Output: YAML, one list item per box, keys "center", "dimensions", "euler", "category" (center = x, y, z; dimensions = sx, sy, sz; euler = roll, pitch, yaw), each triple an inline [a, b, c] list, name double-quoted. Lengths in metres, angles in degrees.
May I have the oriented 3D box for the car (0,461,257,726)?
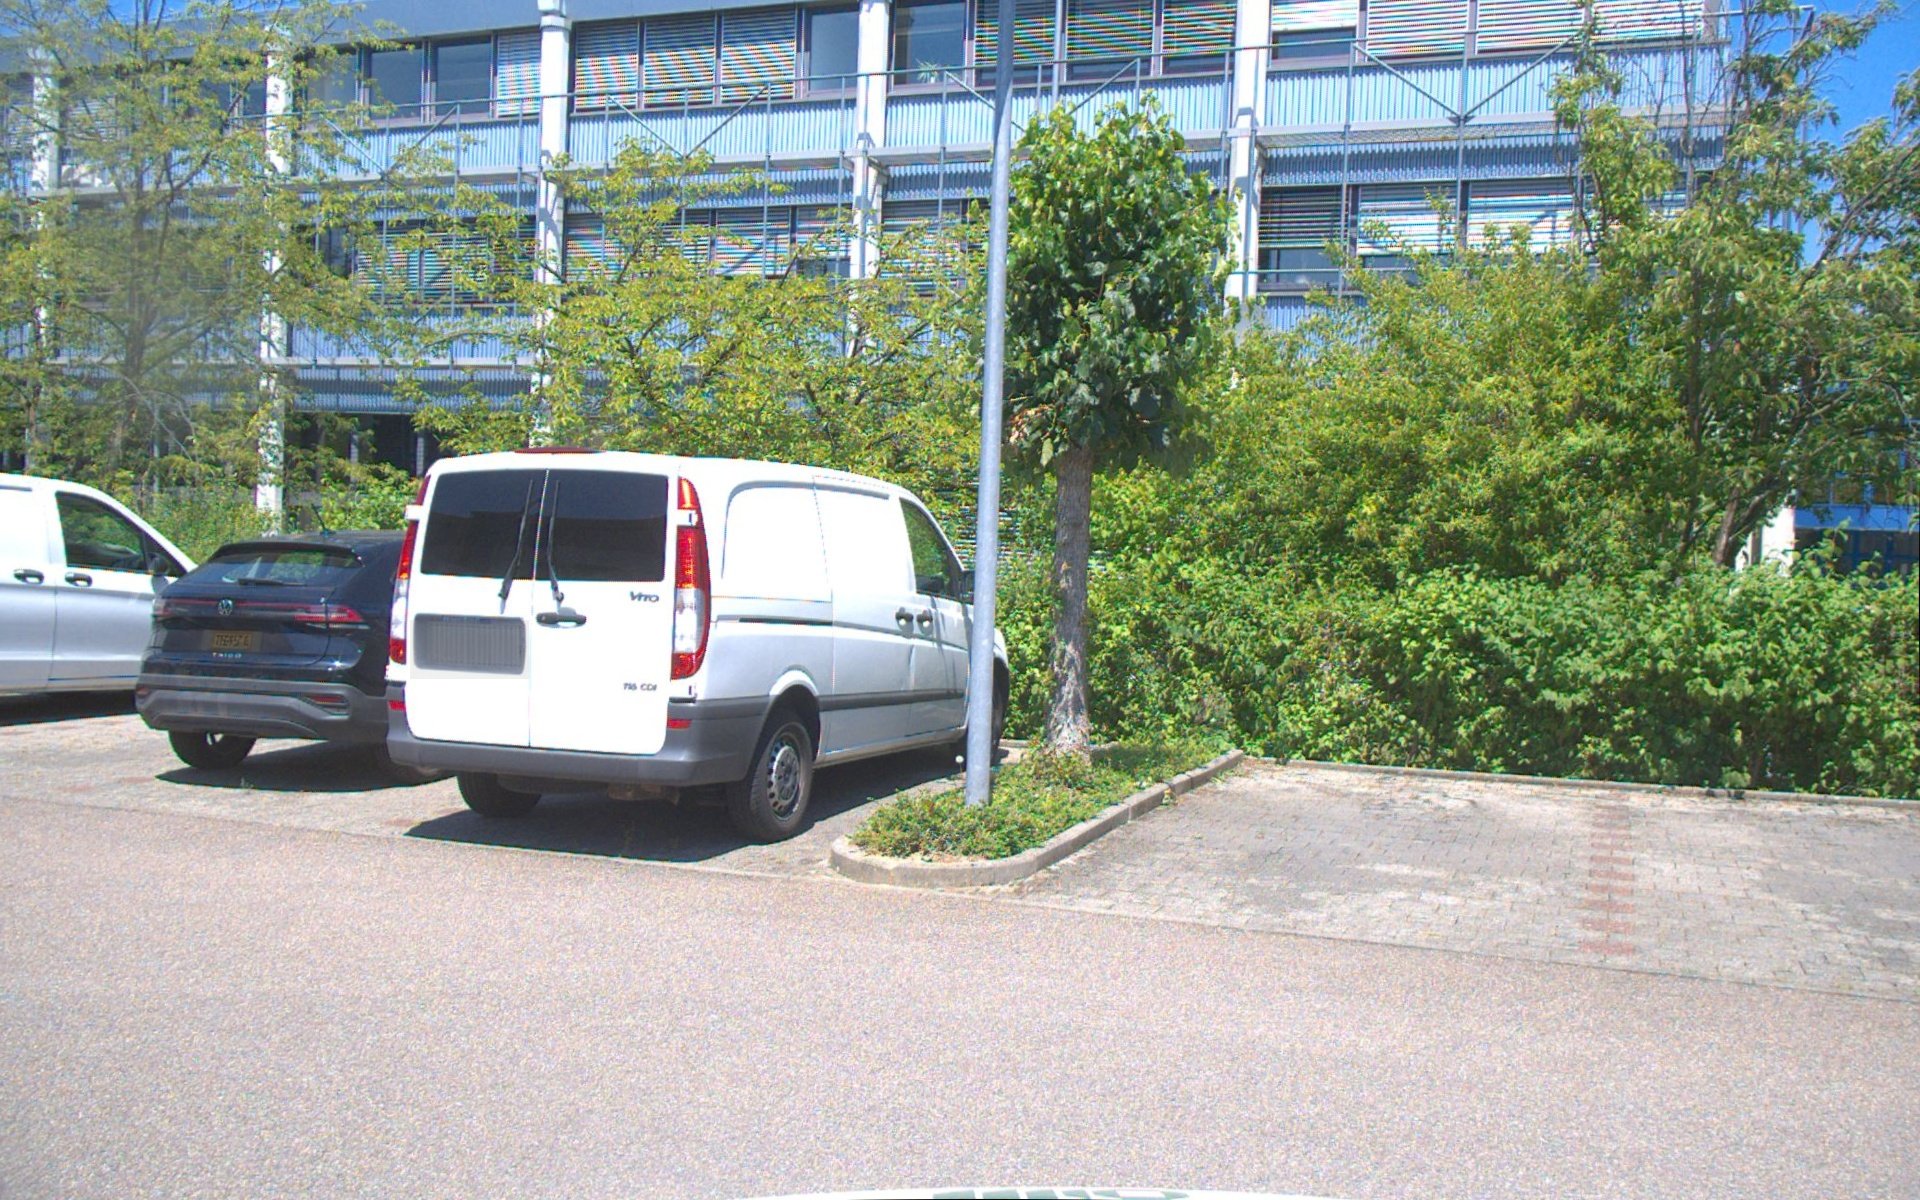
- center: [-7.817, -0.077, 12.366]
  dimensions: [1.843, 1.924, 4.803]
  euler: [2, 2, 22]
  category: "car"

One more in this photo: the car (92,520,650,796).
- center: [-3.699, 0.237, 11.227]
  dimensions: [1.717, 1.501, 4.004]
  euler: [1, 2, 12]
  category: "car"

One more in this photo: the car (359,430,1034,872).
- center: [-1.176, 0.132, 9.827]
  dimensions: [1.873, 1.938, 4.810]
  euler: [1, 2, 20]
  category: "car"
